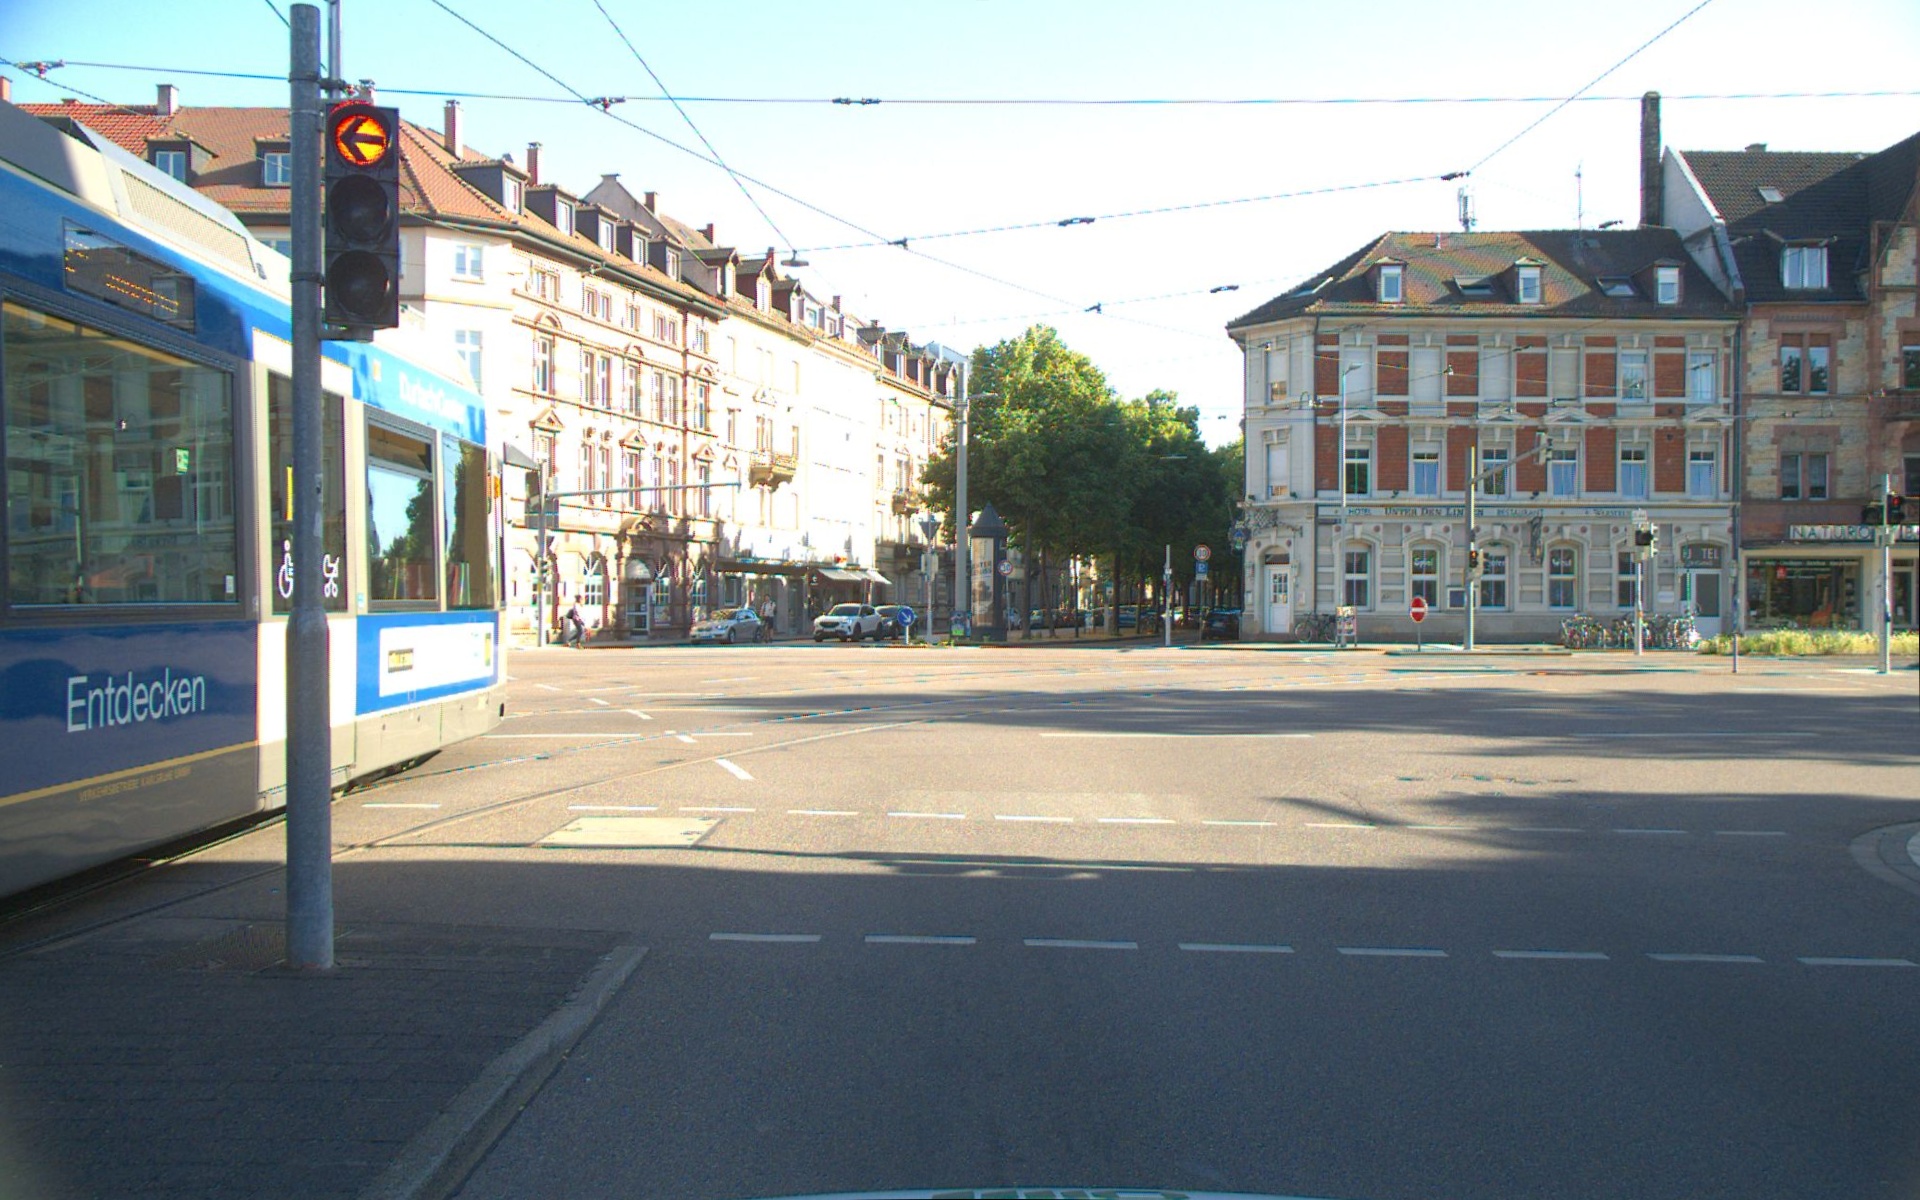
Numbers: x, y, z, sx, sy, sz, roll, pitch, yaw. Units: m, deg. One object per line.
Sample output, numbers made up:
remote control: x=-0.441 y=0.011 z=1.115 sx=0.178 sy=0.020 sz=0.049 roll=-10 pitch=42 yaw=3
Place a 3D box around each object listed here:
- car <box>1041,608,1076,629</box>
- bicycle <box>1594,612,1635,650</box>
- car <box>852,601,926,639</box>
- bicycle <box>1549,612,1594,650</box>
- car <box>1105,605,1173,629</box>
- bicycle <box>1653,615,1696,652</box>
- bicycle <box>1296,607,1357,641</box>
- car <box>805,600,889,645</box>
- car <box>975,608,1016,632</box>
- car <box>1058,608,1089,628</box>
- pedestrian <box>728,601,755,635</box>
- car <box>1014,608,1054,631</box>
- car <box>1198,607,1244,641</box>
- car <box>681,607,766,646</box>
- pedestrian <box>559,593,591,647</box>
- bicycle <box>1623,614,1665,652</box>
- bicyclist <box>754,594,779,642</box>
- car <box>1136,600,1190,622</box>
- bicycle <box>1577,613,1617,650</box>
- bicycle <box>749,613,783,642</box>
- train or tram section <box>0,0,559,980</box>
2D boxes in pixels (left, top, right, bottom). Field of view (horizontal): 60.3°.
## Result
car: x=7.781 y=1.423 z=130.541 sx=1.798 sy=1.579 sz=4.393 roll=0 pitch=0 yaw=16
bicycle: x=21.166 y=0.994 z=53.487 sx=0.605 sy=1.163 sz=2.175 roll=0 pitch=0 yaw=4
car: x=-3.147 y=0.861 z=73.766 sx=1.951 sy=1.640 sz=4.393 roll=0 pitch=0 yaw=17
bicycle: x=19.823 y=0.989 z=53.636 sx=0.789 sy=1.163 sz=2.175 roll=0 pitch=0 yaw=4
car: x=12.482 y=1.198 z=115.501 sx=4.290 sy=1.640 sz=1.998 roll=0 pitch=0 yaw=26
bicycle: x=23.038 y=1.060 z=53.376 sx=0.596 sy=1.156 sz=2.136 roll=0 pitch=0 yaw=4
bicycle: x=12.752 y=0.819 z=57.561 sx=2.045 sy=1.144 sz=0.366 roll=1 pitch=-1 yaw=-5
car: x=-4.541 y=0.883 z=67.231 sx=1.951 sy=1.713 sz=4.393 roll=0 pitch=0 yaw=17
car: x=2.413 y=1.325 z=110.968 sx=1.951 sy=1.512 sz=4.003 roll=0 pitch=0 yaw=13
car: x=9.393 y=1.463 z=136.442 sx=1.727 sy=1.576 sz=4.394 roll=0 pitch=0 yaw=16
pedestrian: x=-10.124 y=0.815 z=76.768 sx=0.908 sy=1.562 sz=1.138 roll=0 pitch=0 yaw=13
car: x=5.528 y=1.426 z=122.716 sx=1.951 sy=1.640 sz=4.393 roll=0 pitch=0 yaw=17
car: x=13.071 y=1.161 z=82.612 sx=1.951 sy=1.613 sz=4.003 roll=0 pitch=0 yaw=13
car: x=-9.525 y=1.034 z=66.878 sx=1.858 sy=1.481 sz=4.002 roll=0 pitch=0 yaw=17
pedestrian: x=-12.865 y=0.669 z=55.288 sx=1.027 sy=1.774 sz=0.806 roll=0 pitch=0 yaw=-12
bicycle: x=22.074 y=1.056 z=53.428 sx=0.605 sy=1.163 sz=2.175 roll=0 pitch=0 yaw=4
bicyclist: x=-7.584 y=0.693 z=64.910 sx=0.664 sy=1.852 sz=1.071 roll=0 pitch=0 yaw=12
car: x=16.419 y=0.887 z=133.851 sx=3.912 sy=1.736 sz=1.996 roll=0 pitch=0 yaw=30
bicycle: x=20.594 y=1.000 z=53.518 sx=0.605 sy=1.163 sz=2.175 roll=0 pitch=0 yaw=4
bicycle: x=-7.595 y=1.080 z=64.868 sx=0.665 sy=1.085 sz=2.127 roll=0 pitch=0 yaw=12
train or tram section: x=-4.791 y=-0.476 z=8.801 sx=2.714 sy=3.561 sz=12.026 roll=0 pitch=0 yaw=-2
